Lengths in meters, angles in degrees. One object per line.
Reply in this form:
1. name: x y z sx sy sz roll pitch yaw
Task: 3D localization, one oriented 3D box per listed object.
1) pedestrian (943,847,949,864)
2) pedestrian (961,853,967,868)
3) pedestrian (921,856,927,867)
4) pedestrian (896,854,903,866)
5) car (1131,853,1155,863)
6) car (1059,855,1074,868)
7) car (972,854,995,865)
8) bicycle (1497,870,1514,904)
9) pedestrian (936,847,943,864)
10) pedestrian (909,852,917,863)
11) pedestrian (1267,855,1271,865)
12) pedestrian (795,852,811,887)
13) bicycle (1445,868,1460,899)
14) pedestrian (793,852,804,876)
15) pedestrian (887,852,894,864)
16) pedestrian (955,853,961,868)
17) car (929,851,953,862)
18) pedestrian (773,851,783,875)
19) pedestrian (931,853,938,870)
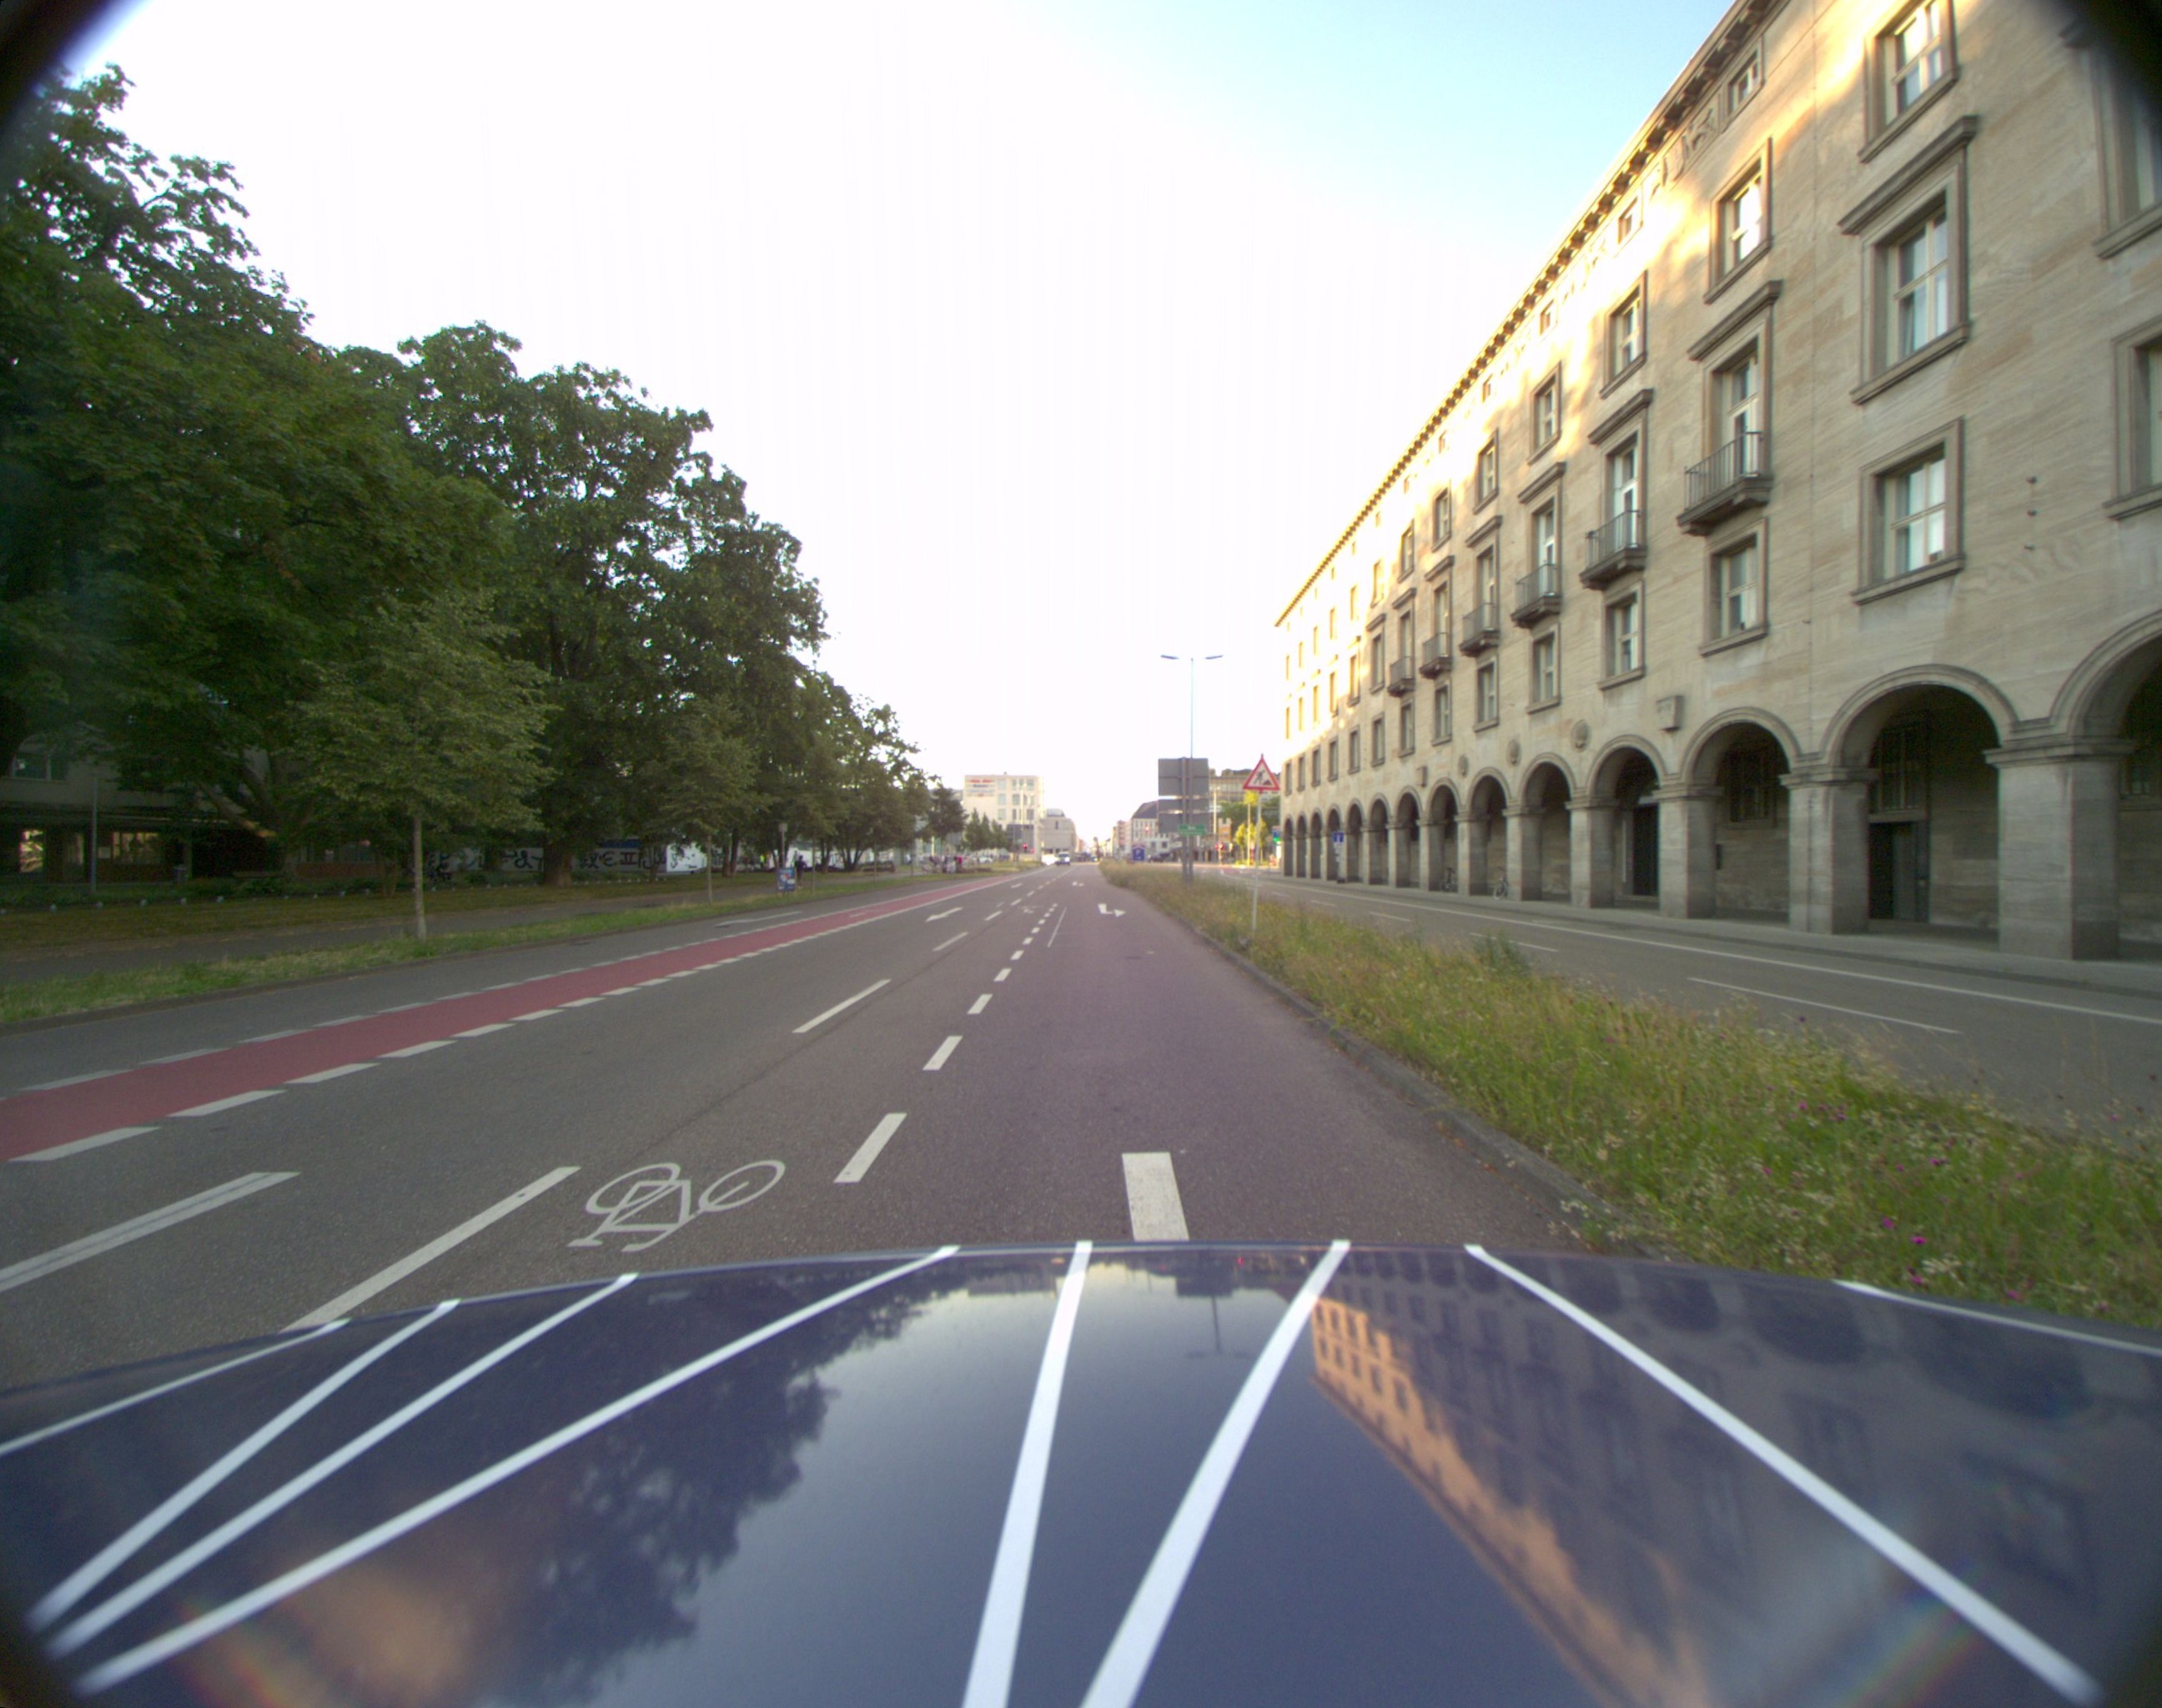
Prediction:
1. pedestrian: -13.756 0.187 77.571 0.509 1.720 0.719 0 1 1
2. pedestrian: -13.591 0.778 88.395 0.638 1.747 0.506 0 1 1
3. pedestrian: -18.296 0.865 88.537 0.662 1.347 0.559 0 0 1
4. pedestrian: -20.092 0.644 84.092 0.519 1.347 0.773 0 0 1
5. car: 11.204 0.783 136.535 4.000 1.797 1.999 0 0 -7
6. car: -2.036 1.053 107.744 1.767 1.877 4.501 0 0 4
7. car: -17.478 0.925 135.512 4.000 2.002 1.998 0 0 -10
8. bicycle: 15.440 1.170 27.608 0.513 1.115 2.427 0 1 30
9. pedestrian: -14.452 0.131 77.584 0.519 1.720 0.719 0 1 1
10. pedestrian: -19.532 0.421 88.397 0.728 1.347 0.614 0 0 1
11. pedestrian: 27.300 0.847 110.133 0.526 1.532 0.390 0 1 1
12. pedestrian: -13.983 0.785 38.231 0.558 1.729 0.555 0 1 1
13. bicycle: 15.147 1.186 31.018 0.513 1.172 2.427 0 0 25
14. pedestrian: -18.876 0.664 50.754 0.500 1.591 0.522 0 0 1
15. pedestrian: -21.038 0.436 83.979 0.519 1.347 0.773 0 0 1
16. pedestrian: -14.384 0.736 88.936 0.638 1.747 0.506 0 1 1
17. car: -24.005 0.442 130.298 4.000 2.002 1.998 0 0 -8
18. pedestrian: -20.657 0.624 51.773 0.500 1.591 0.365 0 1 1
19. pedestrian: -14.287 0.736 74.068 0.509 1.720 0.719 0 1 1
